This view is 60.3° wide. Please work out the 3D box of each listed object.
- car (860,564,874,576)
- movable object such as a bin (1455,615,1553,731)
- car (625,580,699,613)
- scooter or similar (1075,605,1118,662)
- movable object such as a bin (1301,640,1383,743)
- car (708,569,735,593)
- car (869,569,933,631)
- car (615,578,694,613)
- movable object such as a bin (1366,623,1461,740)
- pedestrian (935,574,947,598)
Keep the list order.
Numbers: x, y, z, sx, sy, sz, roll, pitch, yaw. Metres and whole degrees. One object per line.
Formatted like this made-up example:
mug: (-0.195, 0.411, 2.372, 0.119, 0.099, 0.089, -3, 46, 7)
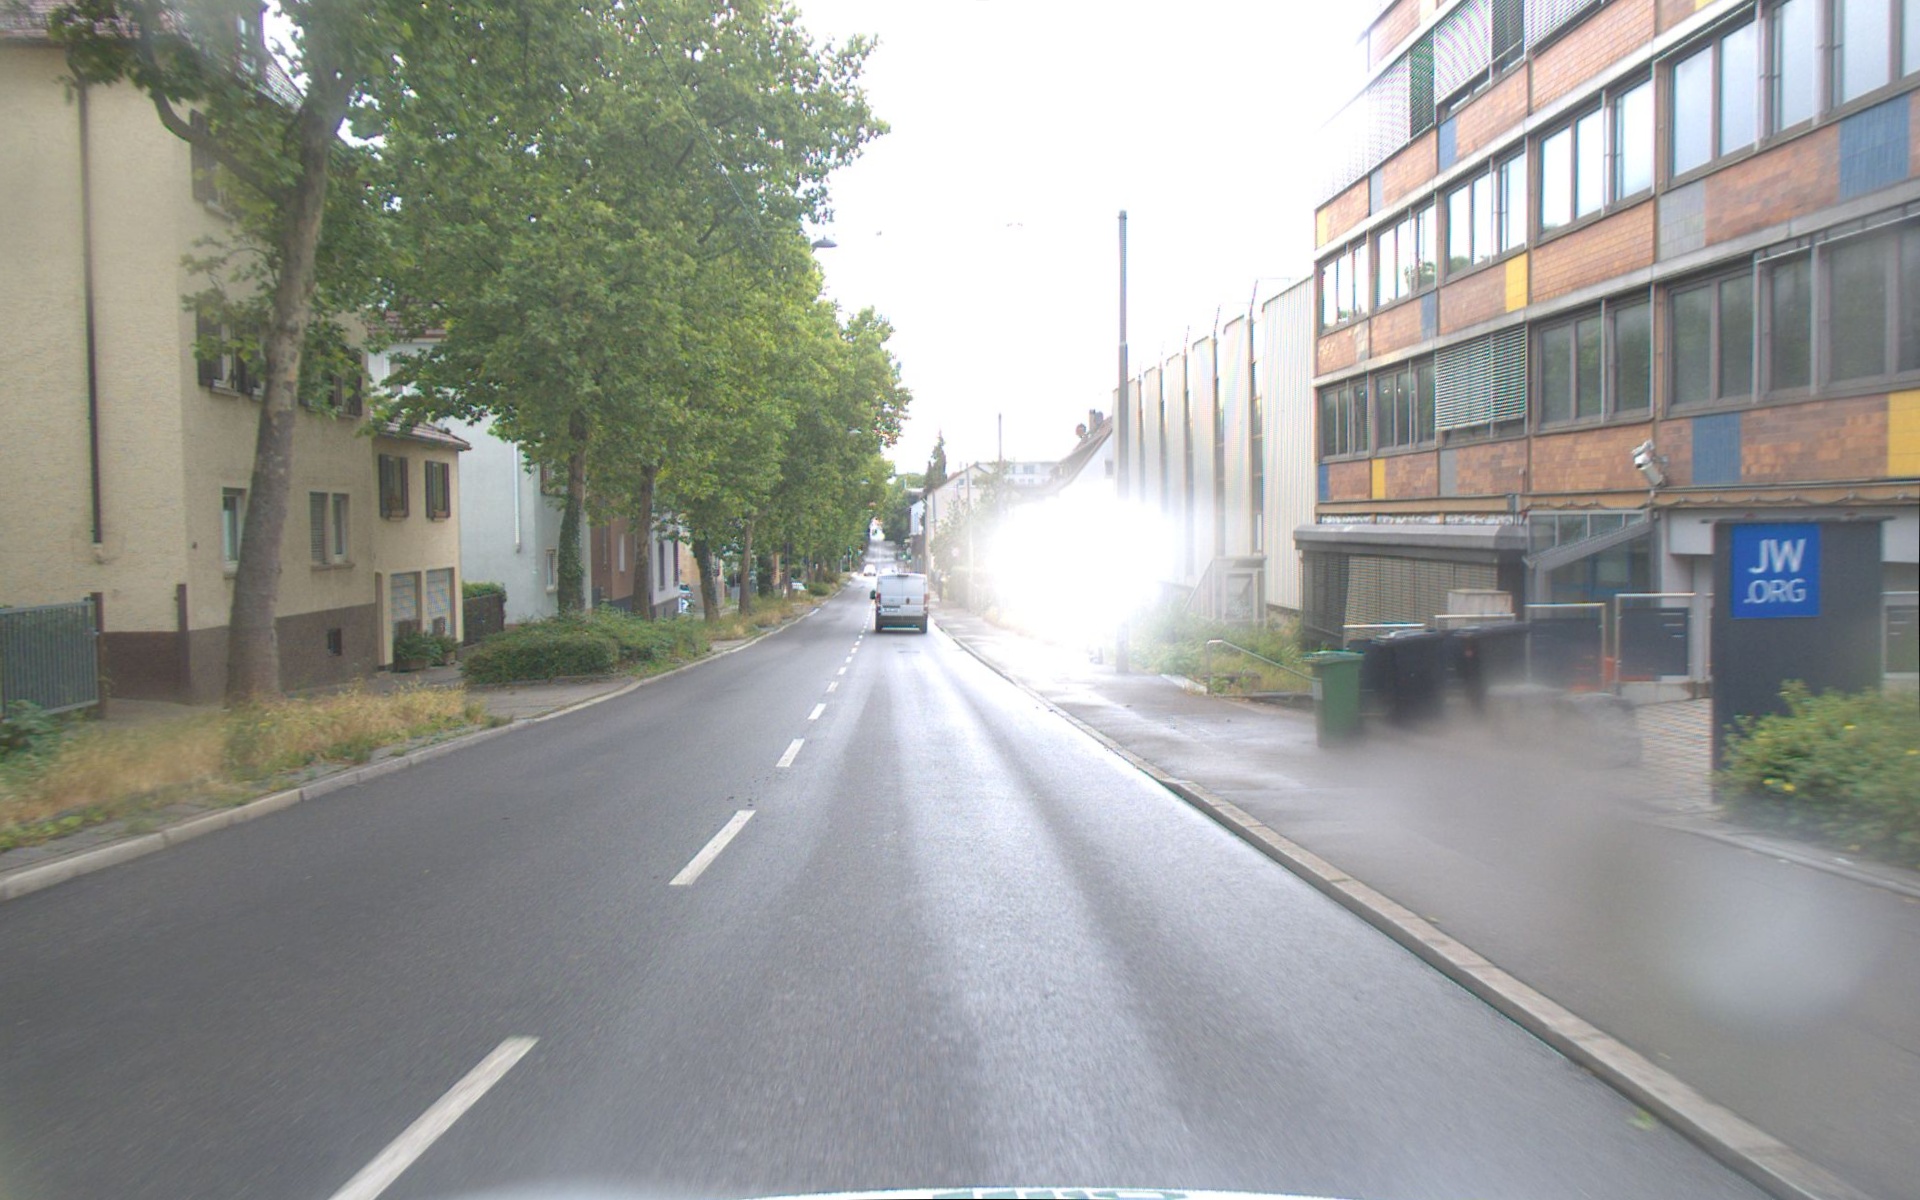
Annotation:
car: (-13.169, -4.258, 233.859, 1.955, 1.739, 4.255, 0, 0, -5)
movable object such as a bin: (5.552, 0.737, 16.908, 0.681, 1.101, 0.778, -3, 1, -1)
car: (-17.756, -0.214, 98.775, 4.113, 1.925, 1.999, -1, 1, -4)
scooter or similar: (2.919, 0.702, 35.498, 0.593, 1.182, 1.697, -1, 0, -7)
movable object such as a bin: (3.837, 0.911, 16.627, 0.607, 0.952, 0.686, -3, 1, -1)
car: (-20.508, -1.664, 142.302, 1.837, 1.927, 3.999, -1, 2, -3)
car: (-2.361, -0.040, 65.047, 2.300, 2.197, 4.774, -1, 2, -4)
car: (-17.181, -0.281, 93.081, 4.113, 1.925, 1.999, -1, 1, -4)
movable object such as a bin: (4.599, 0.816, 16.816, 0.681, 1.101, 0.778, -3, 1, -1)
pedestrian: (-1.383, -0.987, 118.989, 0.799, 1.728, 0.729, 0, 0, -3)
